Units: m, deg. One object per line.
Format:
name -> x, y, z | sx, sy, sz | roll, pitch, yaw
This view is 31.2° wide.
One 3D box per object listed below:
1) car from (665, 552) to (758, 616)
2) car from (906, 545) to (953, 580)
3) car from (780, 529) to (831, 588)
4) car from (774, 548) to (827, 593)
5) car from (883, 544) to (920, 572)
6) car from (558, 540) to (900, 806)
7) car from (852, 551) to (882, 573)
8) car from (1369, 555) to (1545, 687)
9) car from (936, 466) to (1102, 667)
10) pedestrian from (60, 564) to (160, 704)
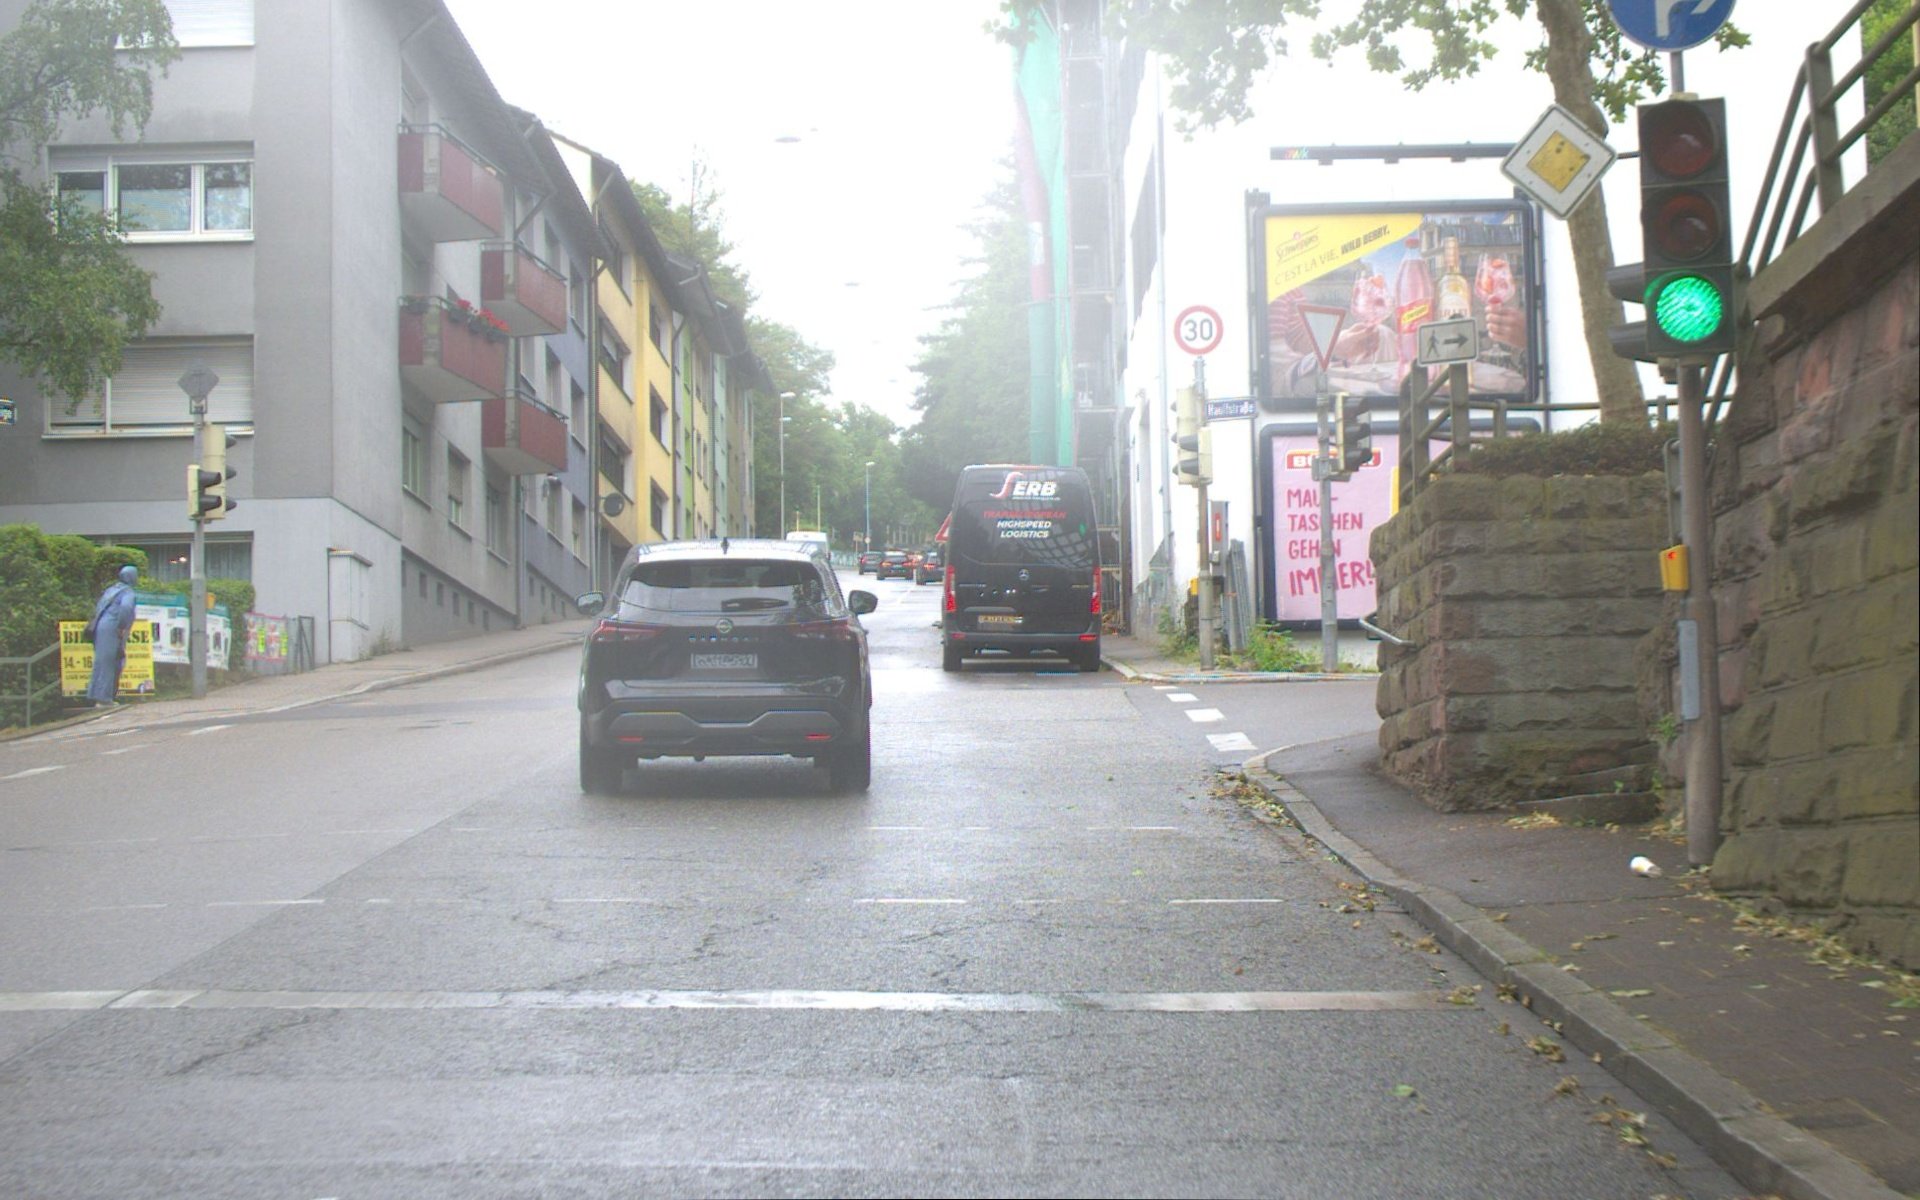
car -> -6.668, -0.455, 92.607 | 1.993, 1.644, 4.441 | -1, 1, 2
car -> -1.385, -1.710, 154.925 | 2.074, 1.554, 4.000 | 0, 1, -2
car -> -6.638, -1.816, 148.189 | 1.990, 2.466, 5.785 | -1, 1, -1
car -> -6.401, -1.215, 138.452 | 1.990, 1.749, 4.480 | -1, 1, -1
car -> -3.294, -2.338, 192.657 | 2.074, 1.554, 4.000 | 0, 1, -1
car -> -1.429, 0.409, 22.726 | 1.993, 1.554, 4.000 | 1, 1, 0
car -> -6.703, -2.761, 248.107 | 2.074, 1.554, 4.000 | 0, 1, -1
car -> 6.027, 0.222, 42.030 | 1.562, 1.479, 4.000 | 1, 1, 0
car -> 0.716, -0.356, 44.833 | 1.993, 2.406, 5.836 | 1, -1, 0
pedestrian -> -9.525, 0.386, 38.556 | 0.869, 1.536, 1.087 | 1, -1, -3
